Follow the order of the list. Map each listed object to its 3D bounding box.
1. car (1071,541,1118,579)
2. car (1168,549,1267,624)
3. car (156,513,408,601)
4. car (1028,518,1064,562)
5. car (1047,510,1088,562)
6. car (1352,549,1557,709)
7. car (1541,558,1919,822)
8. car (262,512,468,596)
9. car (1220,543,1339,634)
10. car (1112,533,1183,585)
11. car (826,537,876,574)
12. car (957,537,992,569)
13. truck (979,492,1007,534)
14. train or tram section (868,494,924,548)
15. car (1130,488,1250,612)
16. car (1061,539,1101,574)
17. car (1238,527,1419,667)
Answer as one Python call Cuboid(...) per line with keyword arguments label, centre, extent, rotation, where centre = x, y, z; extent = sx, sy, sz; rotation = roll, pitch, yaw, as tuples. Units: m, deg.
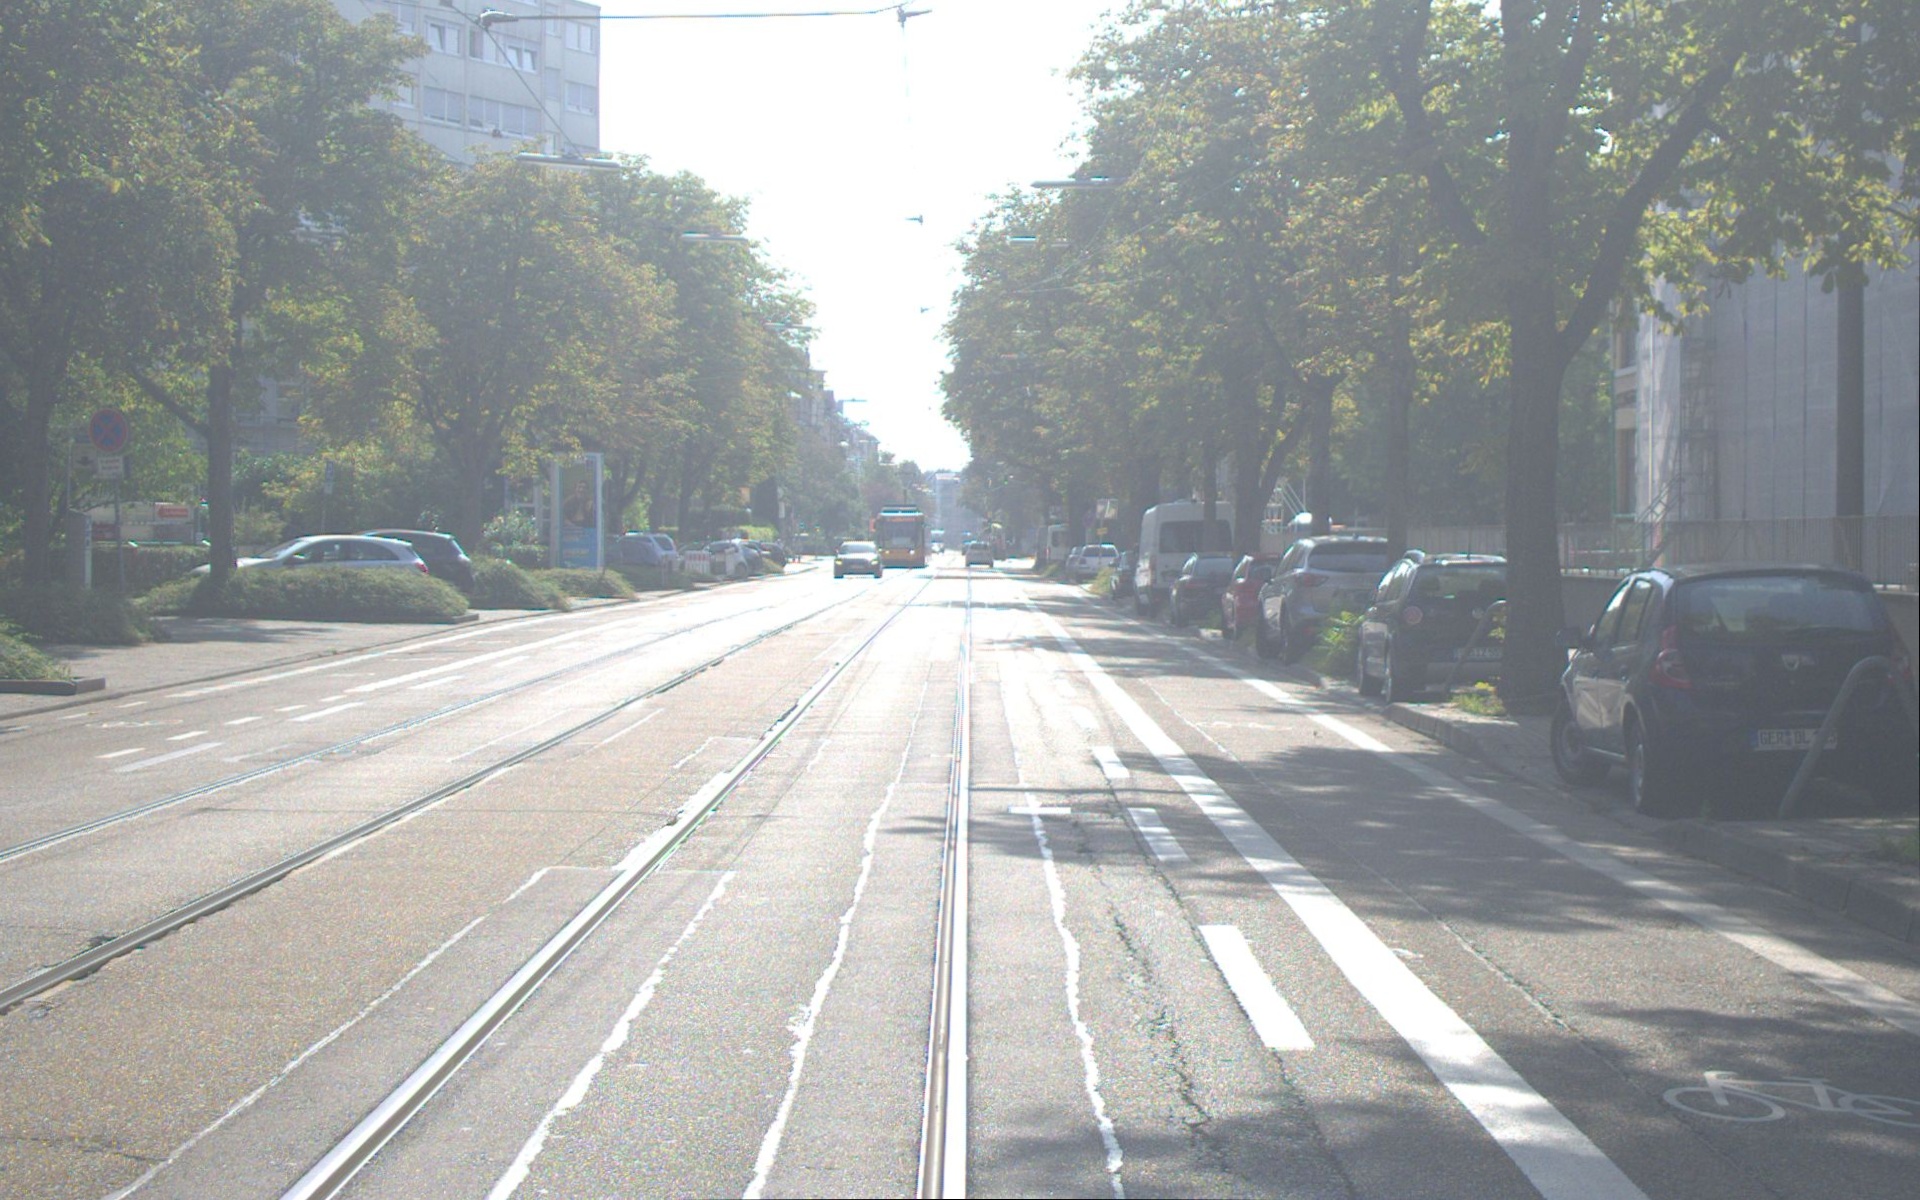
Cuboid(label="car", centre=(5.027, -1.510, 128.979), extent=(1.689, 1.413, 3.634), rotation=(1, 1, 1))
Cuboid(label="car", centre=(4.922, -0.285, 66.115), extent=(1.616, 1.369, 4.827), rotation=(0, 1, 1))
Cuboid(label="car", centre=(-11.911, -0.747, 60.417), extent=(3.986, 1.474, 1.789), rotation=(0, 1, -29))
Cuboid(label="car", centre=(4.944, -3.433, 197.621), extent=(2.004, 2.466, 4.477), rotation=(1, 1, 1))
Cuboid(label="car", centre=(5.326, -3.167, 170.772), extent=(2.004, 2.482, 4.477), rotation=(0, 0, 1))
Cuboid(label="car", centre=(4.980, 0.254, 35.012), extent=(1.576, 1.479, 3.738), rotation=(-1, 1, 1))
Cuboid(label="car", centre=(4.878, 0.509, 22.141), extent=(1.646, 1.506, 3.778), rotation=(-1, 1, 1))
Cuboid(label="car", centre=(-11.639, -0.899, 67.287), extent=(3.633, 1.510, 1.622), rotation=(2, 1, -25))
Cuboid(label="car", centre=(5.152, -0.211, 55.837), extent=(1.616, 1.409, 4.000), rotation=(0, 1, 1))
Cuboid(label="car", centre=(5.180, -1.158, 95.466), extent=(1.753, 1.373, 4.719), rotation=(-1, 1, 1))
Cuboid(label="car", centre=(-4.259, -1.755, 134.759), extent=(1.828, 1.371, 4.513), rotation=(1, 1, 0))
Cuboid(label="car", centre=(0.879, -2.805, 205.362), extent=(1.993, 1.831, 4.000), rotation=(1, 1, 2))
Cuboid(label="truck", centre=(2.484, -6.550, 259.637), extent=(1.860, 3.120, 4.353), rotation=(1, 1, -2))
Cuboid(label="train or tram section", centre=(-3.536, -4.362, 193.353), extent=(2.729, 2.884, 15.455), rotation=(1, 1, 0))
Cuboid(label="car", centre=(5.056, -1.116, 76.268), extent=(2.082, 2.544, 5.502), rotation=(-3, 1, -1))
Cuboid(label="car", centre=(5.009, -1.830, 142.577), extent=(1.595, 1.413, 3.634), rotation=(1, 1, 1))
Cuboid(label="car", centre=(4.781, -0.081, 45.116), extent=(1.753, 1.685, 4.397), rotation=(1, 1, -2))
